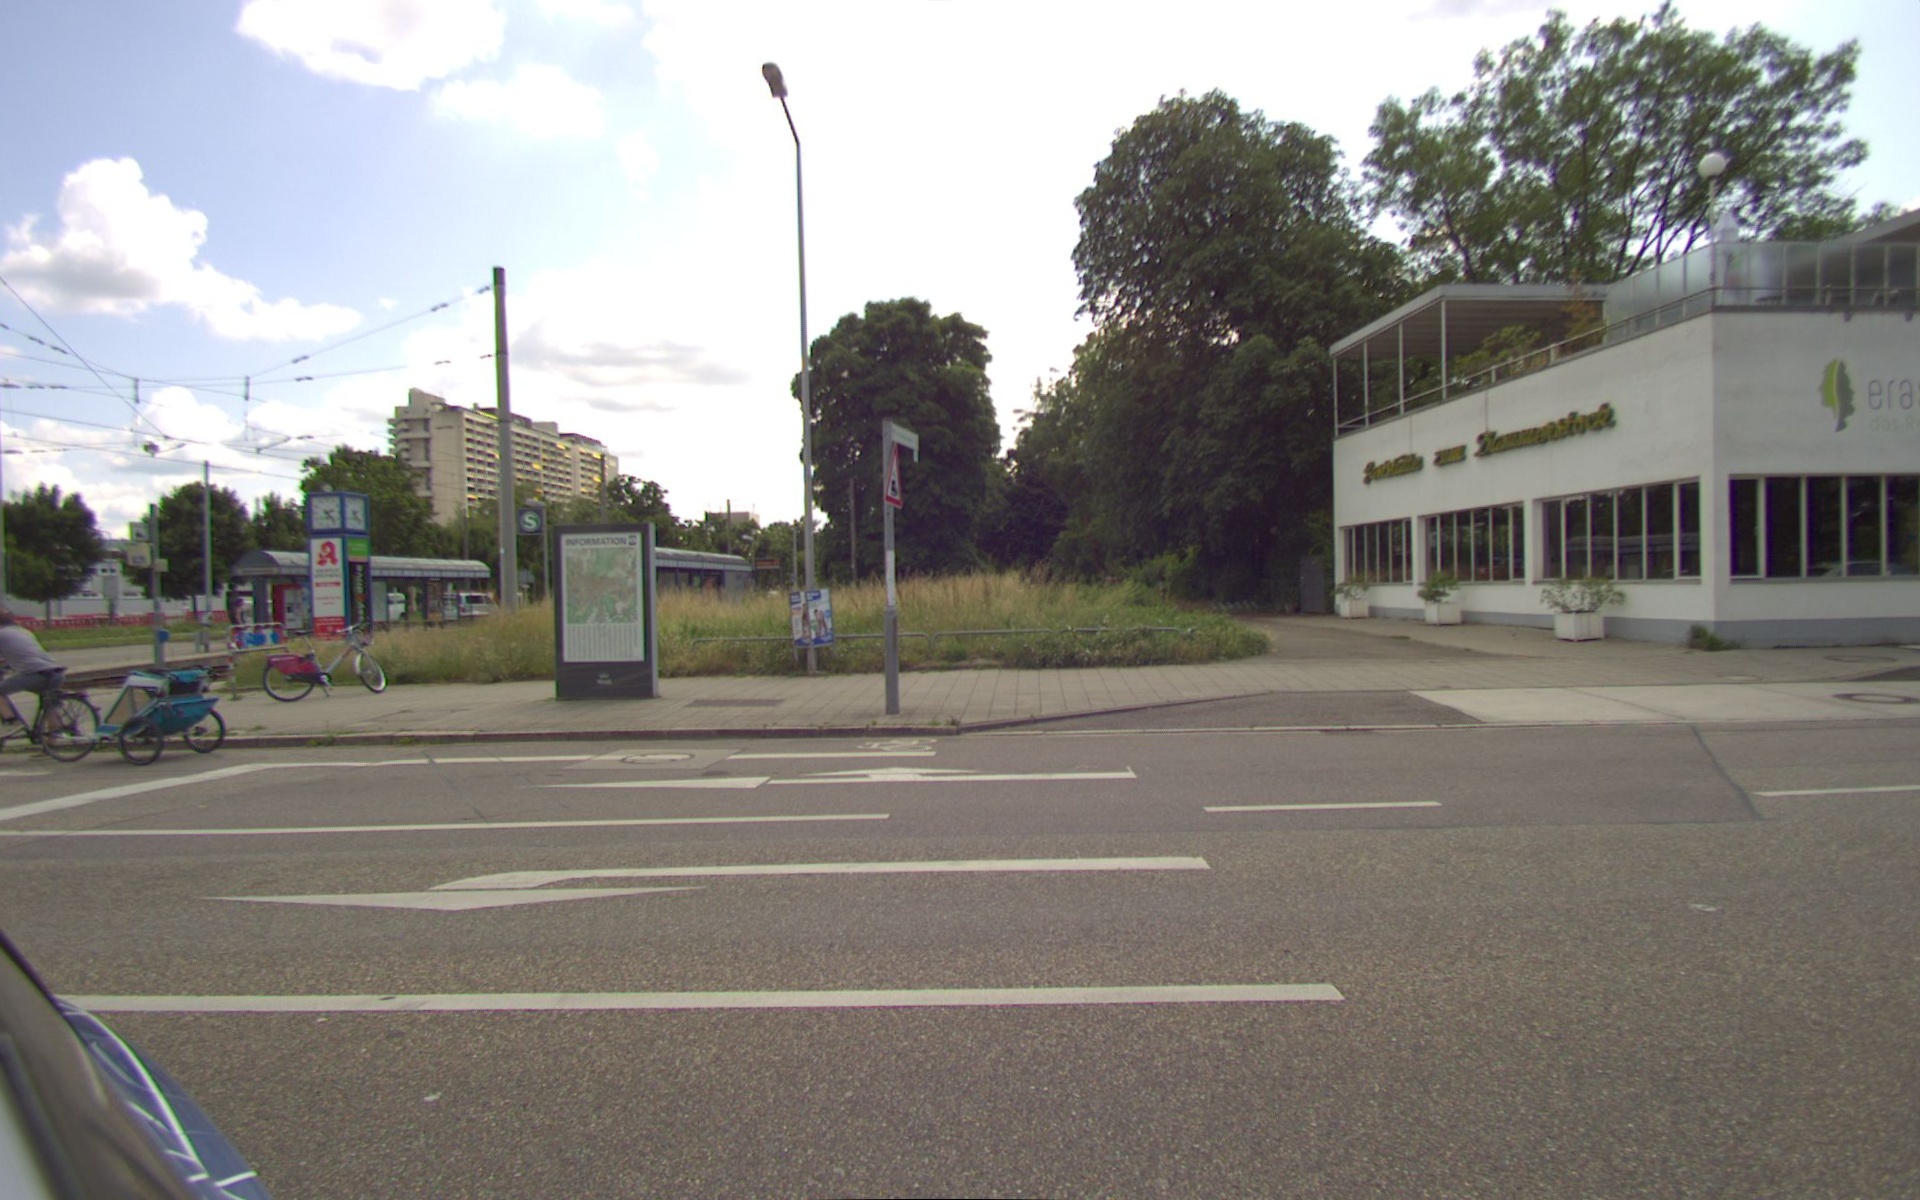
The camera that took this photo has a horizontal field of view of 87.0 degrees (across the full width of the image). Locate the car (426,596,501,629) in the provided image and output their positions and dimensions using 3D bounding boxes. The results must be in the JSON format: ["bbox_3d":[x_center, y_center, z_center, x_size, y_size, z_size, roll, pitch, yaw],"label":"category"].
[{"bbox_3d":[-31.376,0.746,64.157,1.796,1.932,5.225,-2,0,5],"label":"car"}]

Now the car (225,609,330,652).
[{"bbox_3d":[-31.016,1.361,46.124,1.726,1.798,4.149,-1,1,5],"label":"car"}]

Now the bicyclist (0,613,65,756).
[{"bbox_3d":[-10.203,0.894,10.843,0.831,1.486,0.454,-2,0,7],"label":"bicyclist"}]

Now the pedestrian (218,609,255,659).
[{"bbox_3d":[-23.041,1.074,32.249,0.646,1.525,0.719,-2,0,-5],"label":"pedestrian"}]

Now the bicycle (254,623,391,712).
[{"bbox_3d":[-9.516,0.984,15.180,1.632,1.140,0.703,-4,2,-30],"label":"bicycle"}]

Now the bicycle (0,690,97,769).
[{"bbox_3d":[-10.299,1.385,10.865,1.707,0.771,0.554,-1,0,7],"label":"bicycle"}]

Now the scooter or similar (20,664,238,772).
[{"bbox_3d":[-8.759,1.230,10.719,1.561,0.987,0.960,-2,0,7],"label":"scooter or similar"}]
